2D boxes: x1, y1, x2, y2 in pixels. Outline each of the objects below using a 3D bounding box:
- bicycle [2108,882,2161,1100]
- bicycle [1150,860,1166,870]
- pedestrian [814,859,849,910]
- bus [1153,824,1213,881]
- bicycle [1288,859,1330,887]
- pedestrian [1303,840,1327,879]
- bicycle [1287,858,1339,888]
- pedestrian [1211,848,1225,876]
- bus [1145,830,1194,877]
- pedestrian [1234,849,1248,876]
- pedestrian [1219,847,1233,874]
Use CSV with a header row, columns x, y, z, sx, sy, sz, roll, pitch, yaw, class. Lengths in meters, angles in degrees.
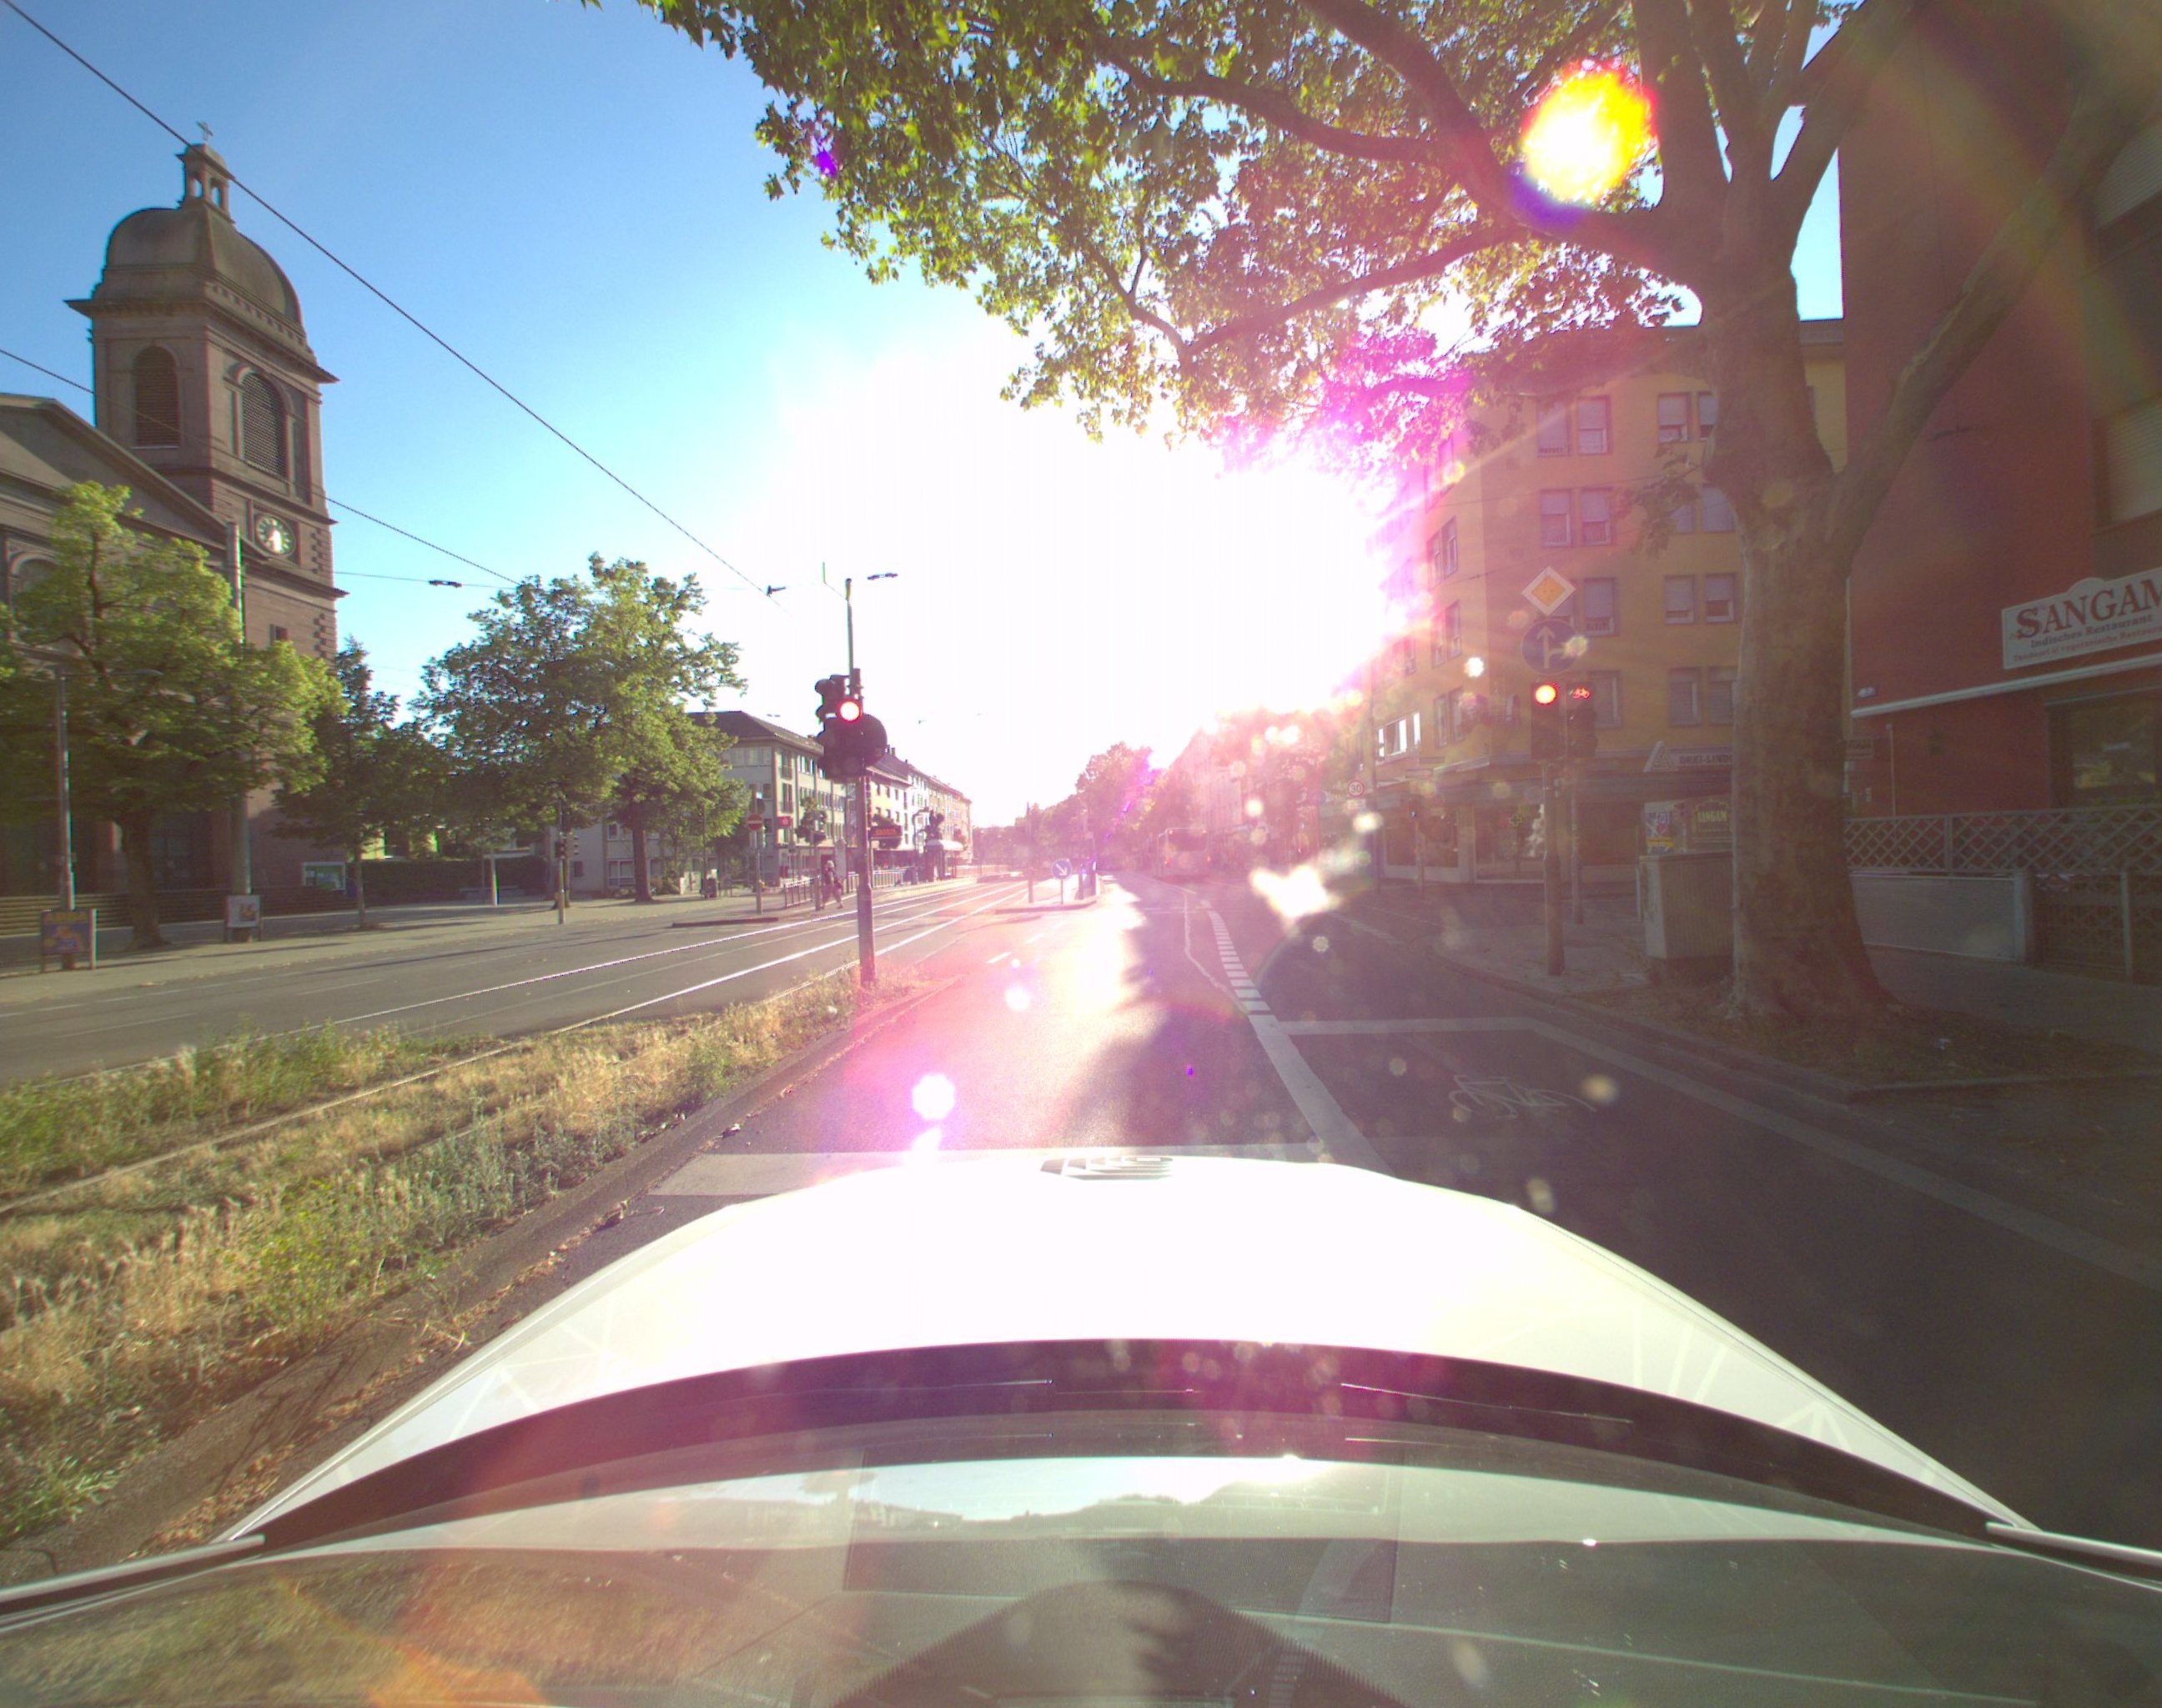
x,y,z,sx,sy,sz,roll,pitch,yaw,class
5.665,0.754,3.653,0.613,1.111,1.812,-3,1,28,bicycle
9.537,1.386,100.914,1.879,1.077,0.755,-6,-1,4,bicycle
-8.949,1.085,29.237,0.915,1.760,0.833,-2,-1,2,pedestrian
6.114,-0.048,50.229,2.687,3.118,9.383,-1,0,1,bus
8.899,0.740,31.789,1.479,1.008,0.454,-2,0,-2,bicycle
11.025,0.276,38.433,0.741,1.780,0.895,-4,-1,1,pedestrian
8.875,0.711,31.162,1.793,1.008,0.540,-4,-1,-3,bicycle
9.013,0.553,53.466,0.721,1.807,0.766,-2,-1,1,pedestrian
6.308,0.014,59.426,2.687,3.118,9.071,-1,0,1,bus
10.464,0.531,53.164,0.721,1.723,0.766,-2,-1,1,pedestrian
9.893,0.457,55.564,0.721,1.779,0.766,-2,-1,1,pedestrian
